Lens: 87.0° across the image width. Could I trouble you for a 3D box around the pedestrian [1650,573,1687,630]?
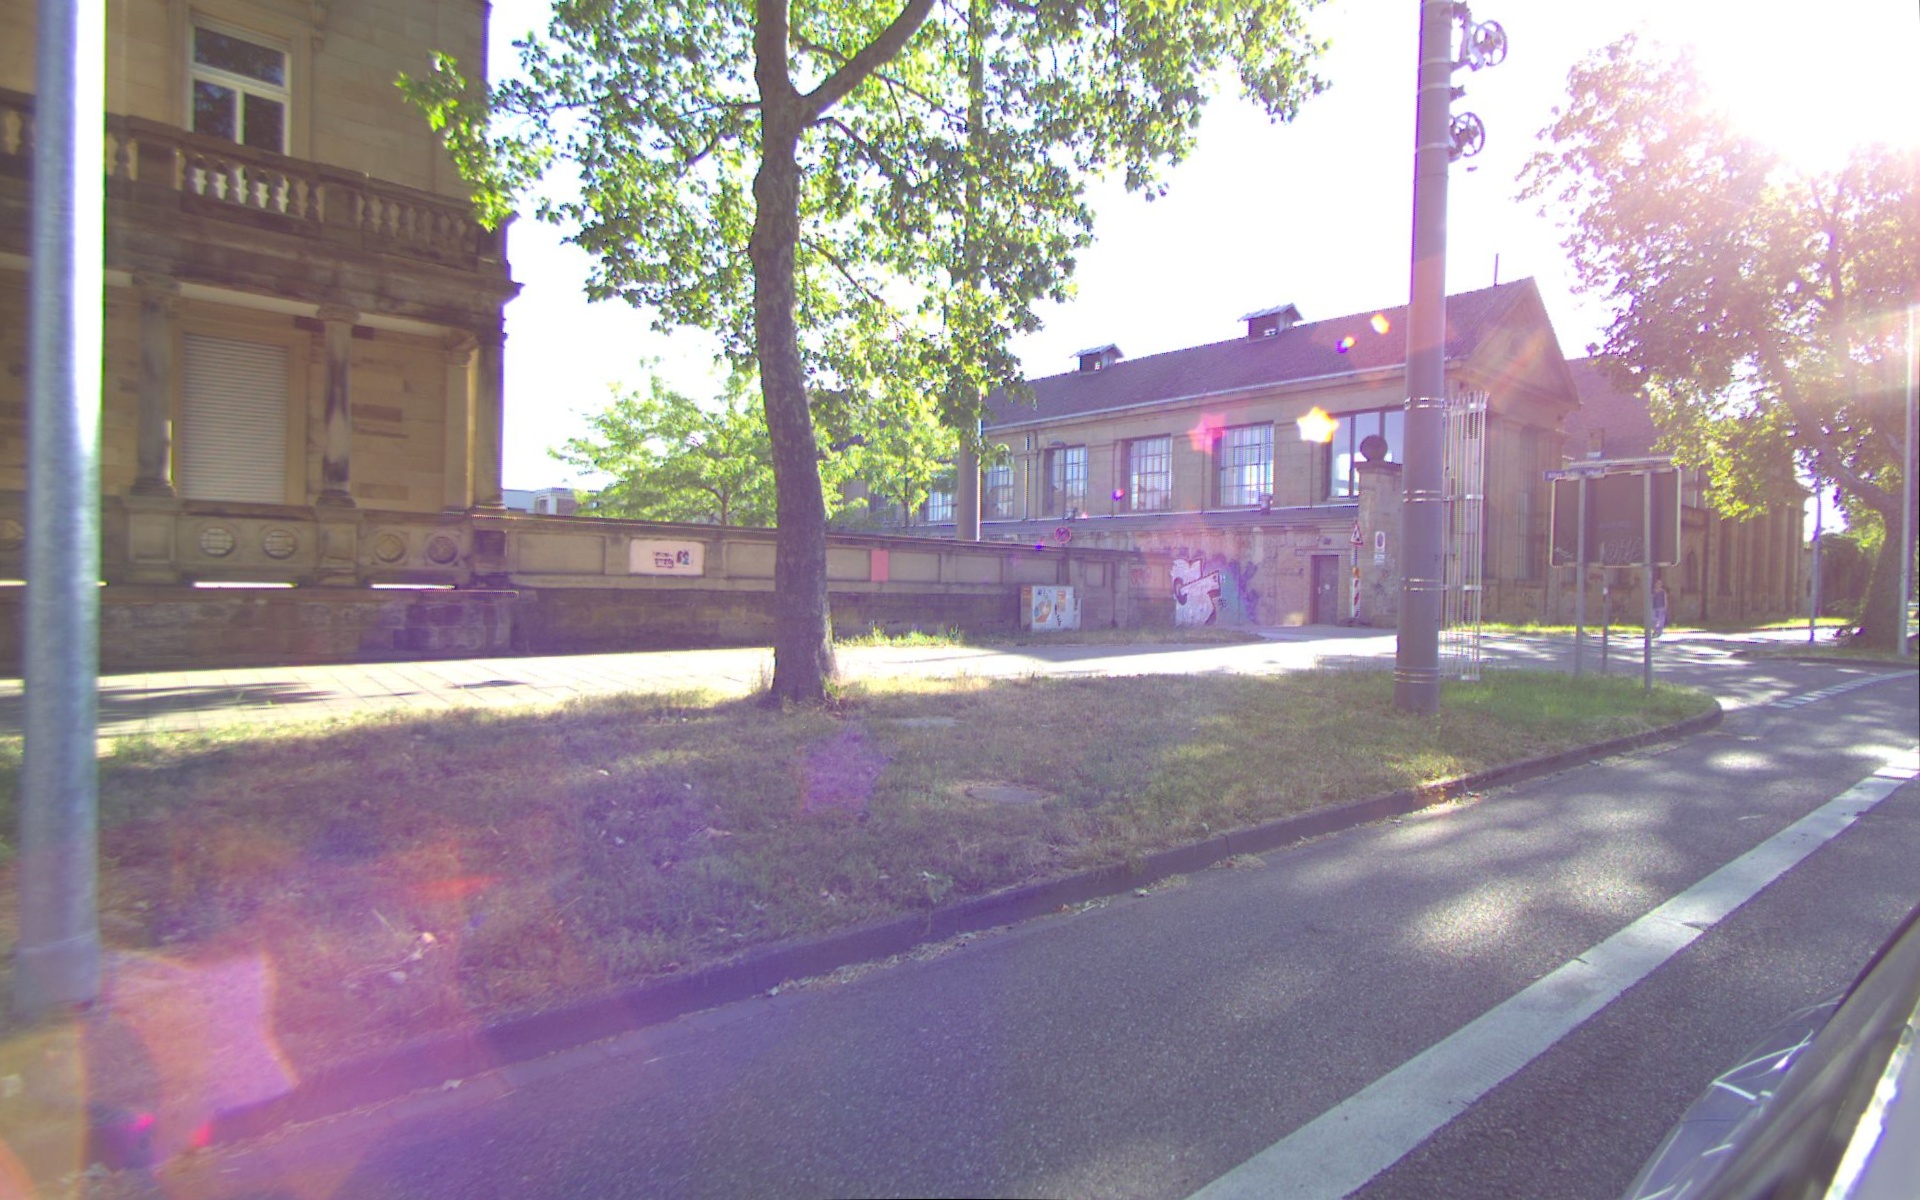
[{"bbox_3d":[21.773,0.044,31.093,0.858,1.682,0.672,1,2,-39],"label":"pedestrian"}]
